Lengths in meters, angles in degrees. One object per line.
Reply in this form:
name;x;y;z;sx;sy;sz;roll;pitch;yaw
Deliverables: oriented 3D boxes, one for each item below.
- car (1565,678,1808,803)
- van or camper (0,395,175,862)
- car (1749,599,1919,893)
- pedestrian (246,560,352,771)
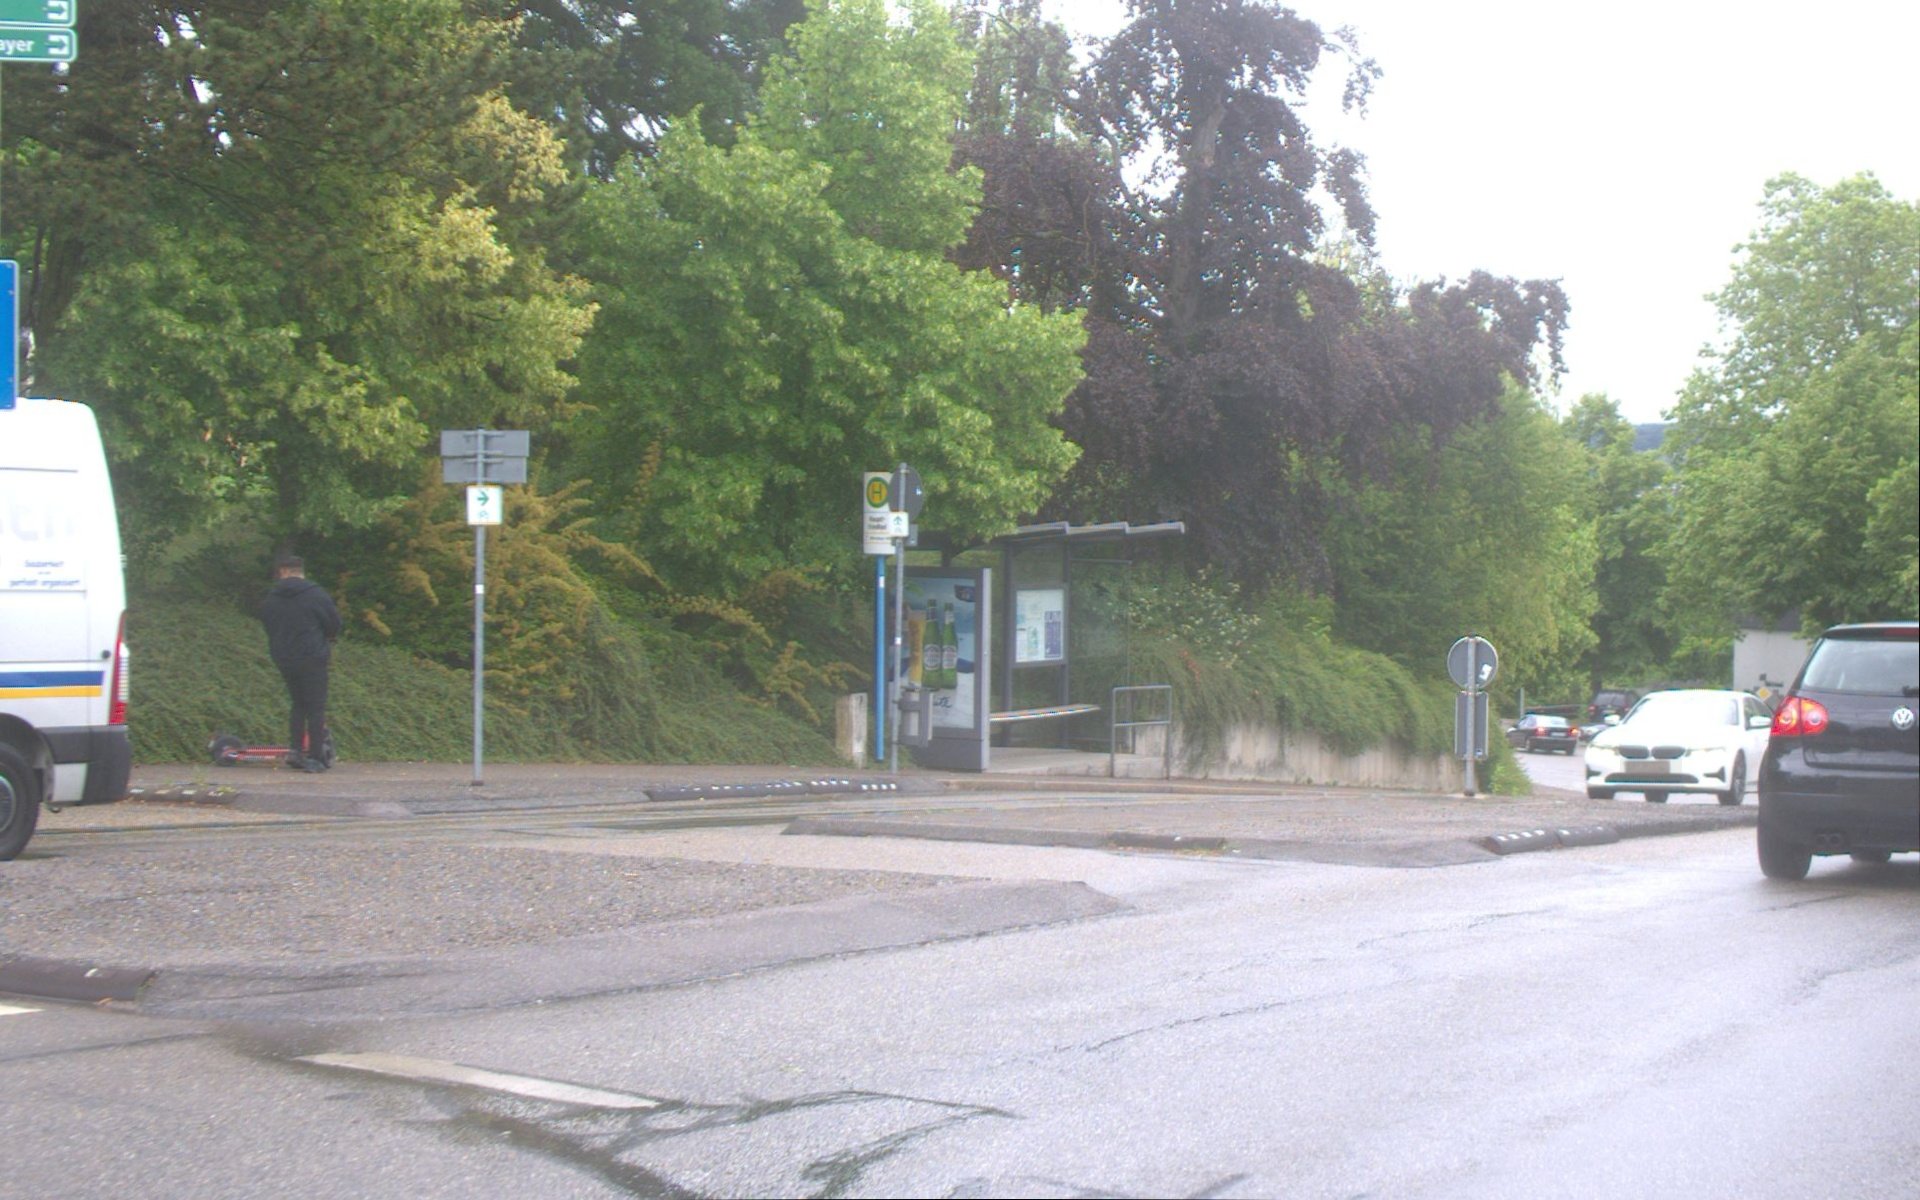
car;9.072;1.773;42.655;1.911;1.388;4.508;2;-2;25
van or camper;-6.773;0.088;16.710;2.198;2.370;5.657;2;0;36
car;5.874;0.802;19.963;1.767;1.533;3.995;1;0;24
pedestrian;-5.515;0.542;28.717;0.738;1.719;0.816;2;0;-5
